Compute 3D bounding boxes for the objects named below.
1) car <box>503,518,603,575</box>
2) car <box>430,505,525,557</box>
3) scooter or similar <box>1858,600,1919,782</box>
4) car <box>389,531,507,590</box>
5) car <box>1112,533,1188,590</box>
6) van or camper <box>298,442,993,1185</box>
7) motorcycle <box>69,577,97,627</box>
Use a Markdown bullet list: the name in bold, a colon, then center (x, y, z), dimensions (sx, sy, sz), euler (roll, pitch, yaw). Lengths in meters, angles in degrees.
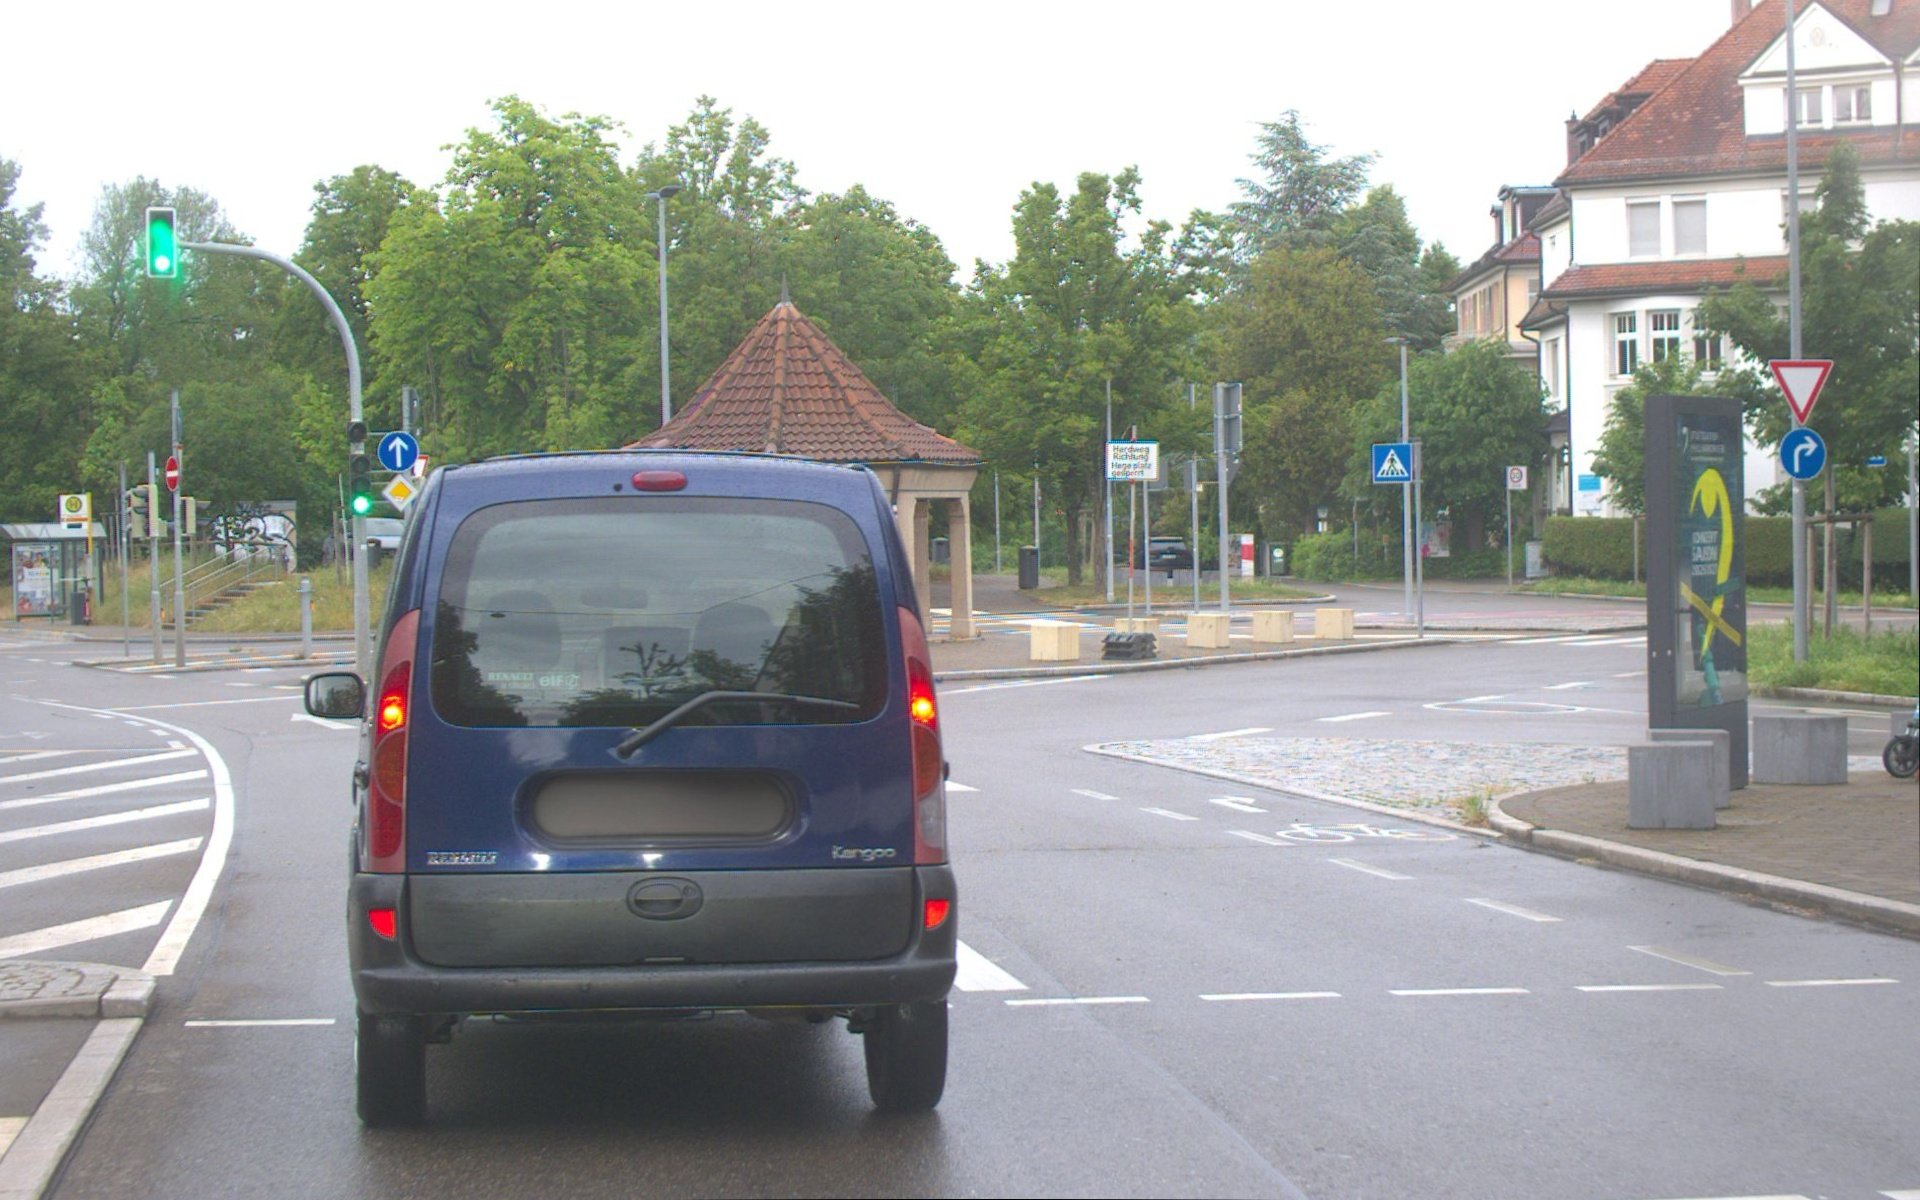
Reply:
- **car**: center (-11.276, -1.455, 95.061), dimensions (1.885, 1.475, 4.069), euler (0, 0, -20)
- **car**: center (-14.784, -2.103, 105.184), dimensions (1.885, 1.475, 4.069), euler (-2, 0, -22)
- **scooter or similar**: center (6.813, 0.616, 23.175), dimensions (1.348, 1.203, 0.525), euler (1, 0, -9)
- **car**: center (-13.618, -1.035, 91.337), dimensions (1.993, 1.475, 4.285), euler (0, 0, -25)
- **car**: center (6.928, -1.396, 125.519), dimensions (1.993, 2.007, 4.001), euler (-1, 1, -8)
- **van or camper**: center (-1.081, 0.508, 10.627), dimensions (1.712, 1.819, 4.001), euler (-1, 1, -9)
- **motorcycle**: center (-22.998, 0.046, 90.182), dimensions (0.588, 1.284, 1.538), euler (-2, 1, -11)
